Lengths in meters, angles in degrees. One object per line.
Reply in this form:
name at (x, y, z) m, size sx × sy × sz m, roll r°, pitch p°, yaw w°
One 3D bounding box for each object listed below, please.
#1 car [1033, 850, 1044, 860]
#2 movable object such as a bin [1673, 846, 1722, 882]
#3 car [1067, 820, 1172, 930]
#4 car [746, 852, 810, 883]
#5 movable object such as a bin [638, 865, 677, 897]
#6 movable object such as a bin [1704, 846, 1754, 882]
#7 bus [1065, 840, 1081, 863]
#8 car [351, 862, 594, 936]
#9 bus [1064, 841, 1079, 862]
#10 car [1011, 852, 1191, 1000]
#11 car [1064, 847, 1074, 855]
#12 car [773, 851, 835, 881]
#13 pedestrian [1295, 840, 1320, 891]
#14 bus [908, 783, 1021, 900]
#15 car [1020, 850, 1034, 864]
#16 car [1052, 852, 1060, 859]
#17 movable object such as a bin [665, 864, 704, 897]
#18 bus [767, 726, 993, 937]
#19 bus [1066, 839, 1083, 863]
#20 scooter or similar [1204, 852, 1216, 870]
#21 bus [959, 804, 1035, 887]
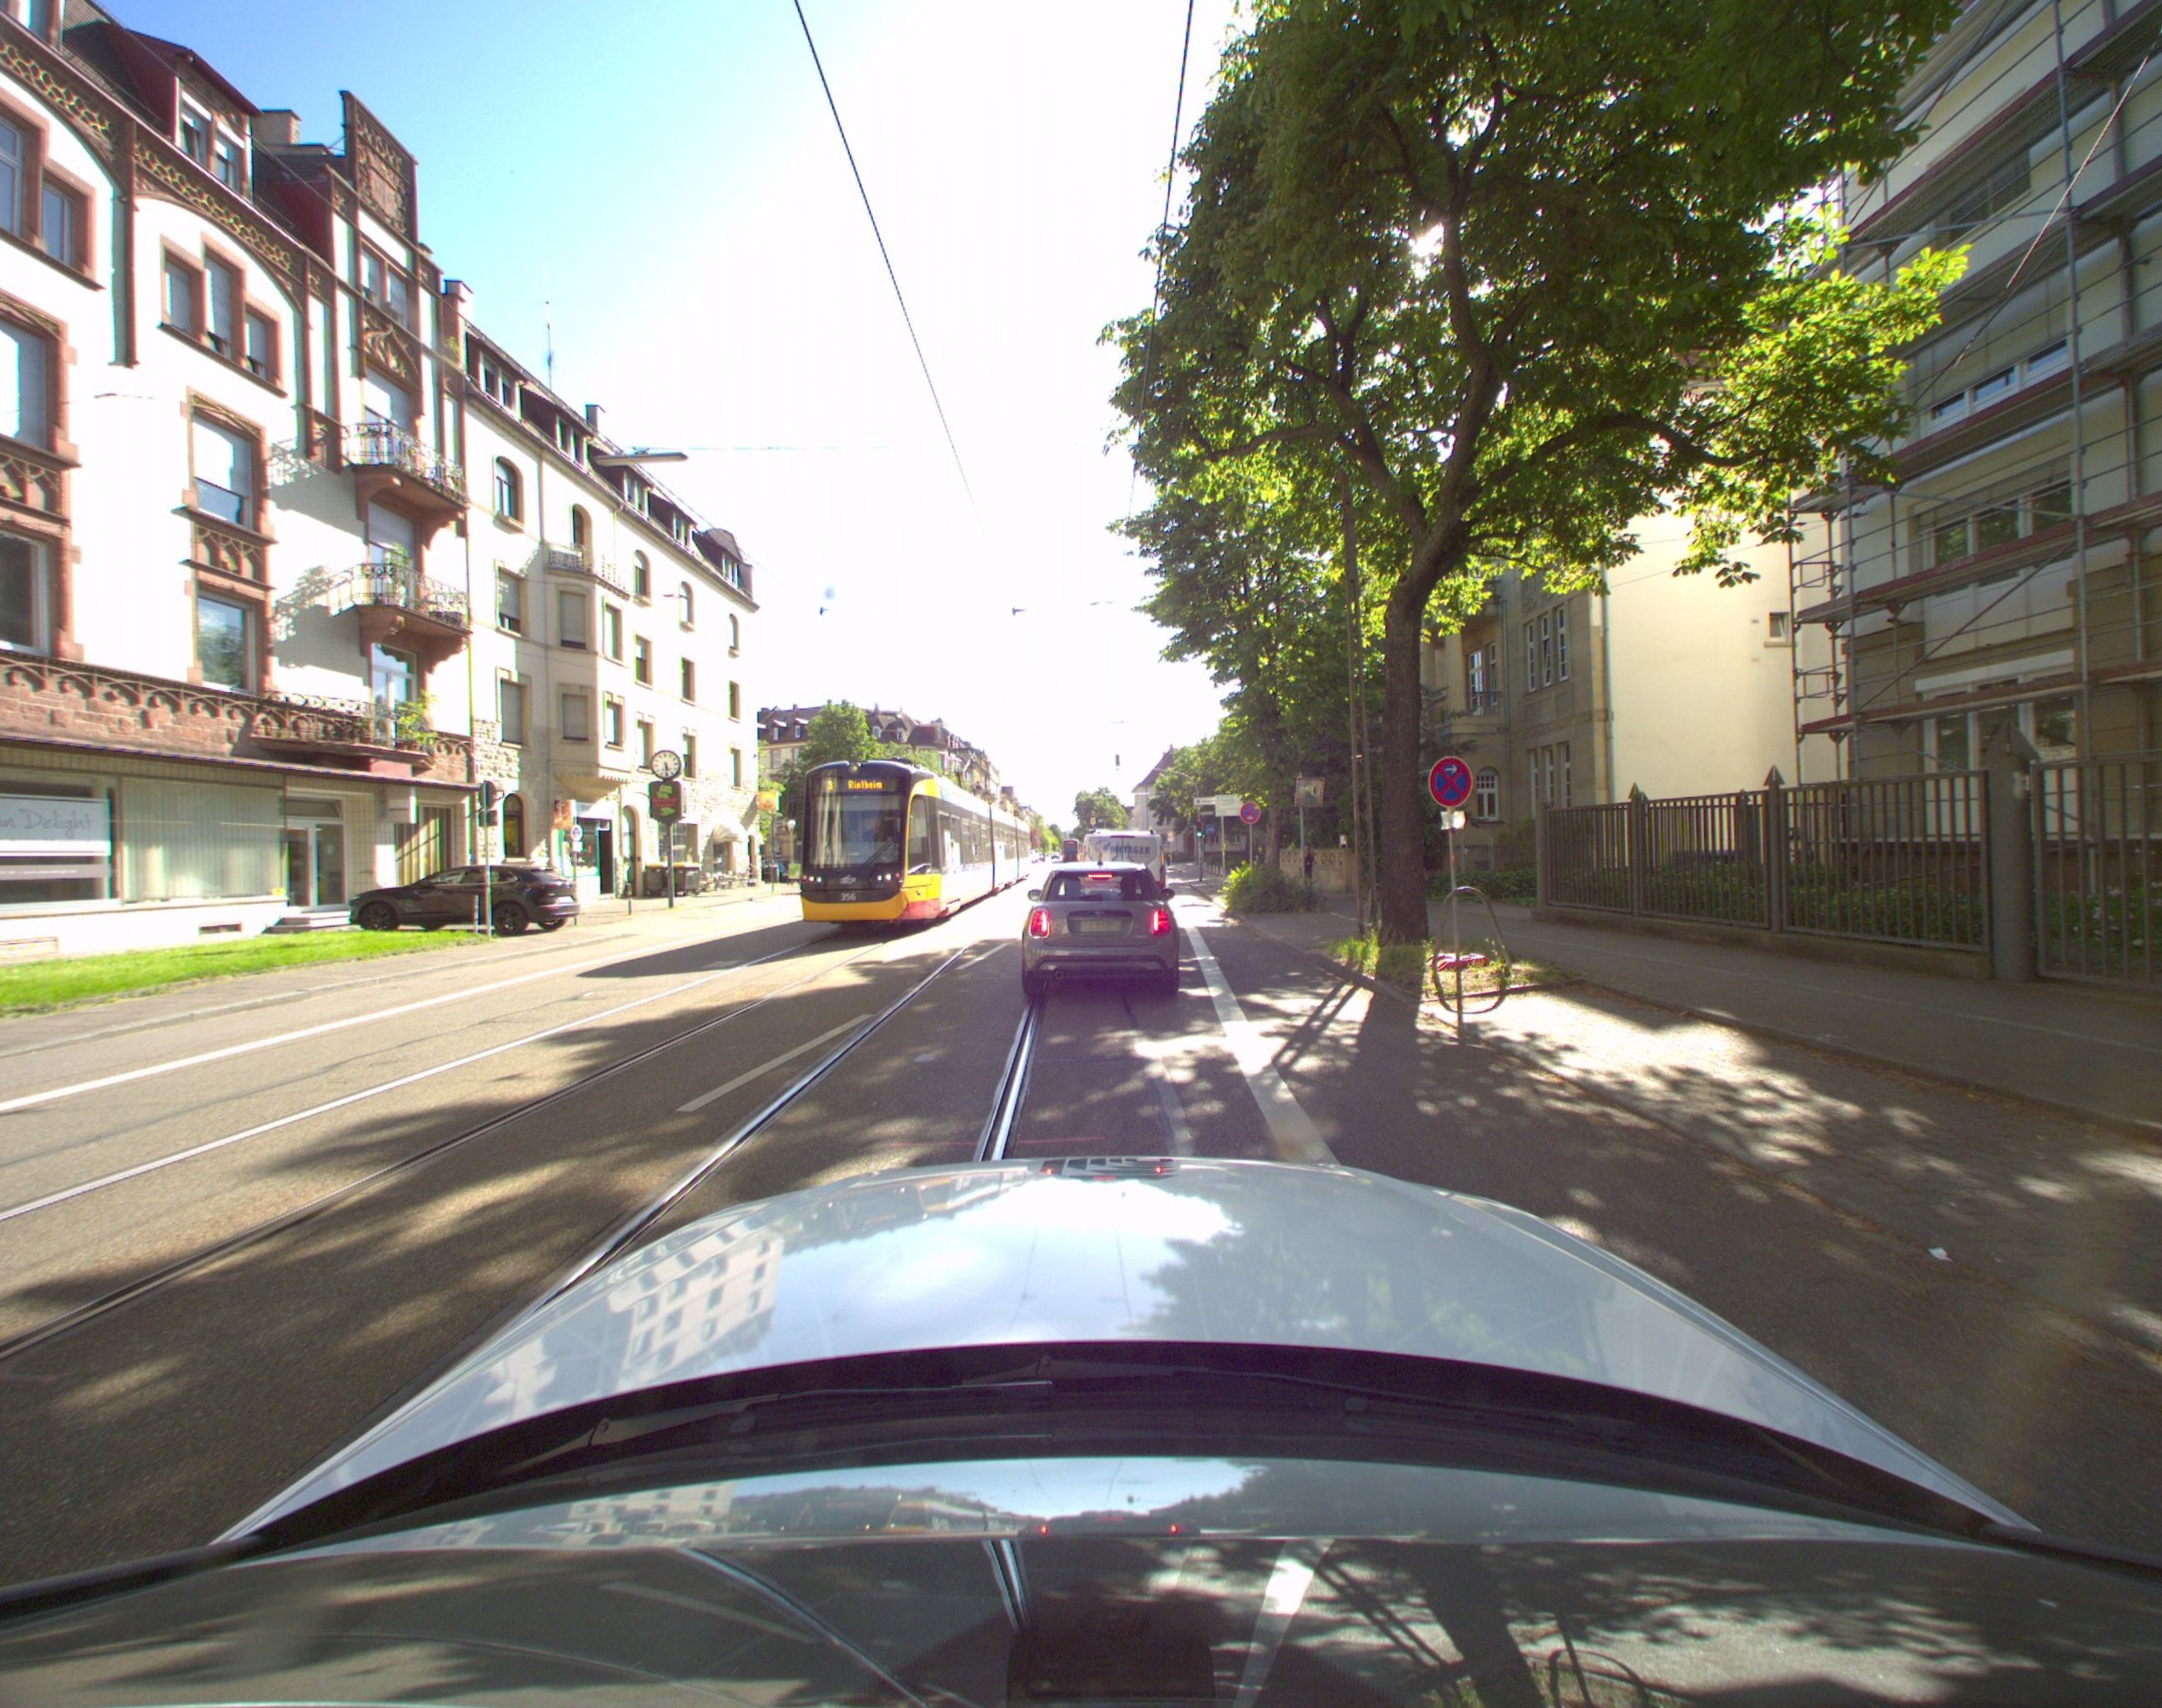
car at (-7.040, 0.239, 135.059) m, size 1.771 × 1.618 × 3.997 m, roll 0°, pitch -1°, yaw -2°
movable object such as a bin at (16.678, 0.274, 22.036) m, size 0.831 × 0.955 × 0.648 m, roll 0°, pitch -1°, yaw 0°
car at (0.850, 0.450, 18.980) m, size 2.110 × 2.208 × 4.946 m, roll 0°, pitch -1°, yaw 2°
car at (-20.550, 0.904, 55.195) m, size 3.949 × 2.014 × 2.012 m, roll -1°, pitch -1°, yaw 30°
movable object such as a bin at (-16.876, 1.068, 32.500) m, size 0.829 × 1.223 × 1.245 m, roll 0°, pitch -1°, yaw 4°
movable object such as a bin at (17.543, 0.268, 22.048) m, size 0.831 × 0.955 × 0.648 m, roll 0°, pitch -1°, yaw 0°
bus at (-1.303, -0.390, 129.734) m, size 2.379 × 3.496 × 7.377 m, roll 0°, pitch -1°, yaw -2°
car at (-13.587, 0.992, 18.395) m, size 3.981 × 1.503 × 1.768 m, roll 1°, pitch -1°, yaw -6°
bus at (-1.597, -0.381, 137.090) m, size 2.379 × 3.496 × 7.377 m, roll 0°, pitch -1°, yaw -2°
car at (0.263, 0.743, 10.222) m, size 1.808 × 1.488 × 4.001 m, roll 0°, pitch -1°, yaw 2°
car at (-2.261, -0.576, 155.283) m, size 1.859 × 1.563 × 3.997 m, roll 0°, pitch -1°, yaw -2°
car at (-19.491, 0.827, 57.248) m, size 3.949 × 2.014 × 2.012 m, roll -1°, pitch -1°, yaw 30°
pedestrian at (7.617, 0.380, 27.427) m, size 0.590 × 1.671 × 0.647 m, roll -3°, pitch -1°, yaw 1°
bus at (-4.161, -0.362, 31.809) m, size 2.851 × 3.777 × 11.179 m, roll 0°, pitch 0°, yaw -1°
car at (-8.005, 0.509, 119.908) m, size 1.990 × 2.014 × 5.020 m, roll 0°, pitch -1°, yaw -5°
car at (-5.759, 0.308, 185.444) m, size 1.771 × 1.618 × 3.997 m, roll 0°, pitch -1°, yaw -2°
movable object such as a bin at (-15.939, 1.048, 32.779) m, size 0.941 × 1.273 × 1.145 m, roll 0°, pitch -1°, yaw 5°
bus at (-4.234, -0.371, 20.377) m, size 2.851 × 3.777 × 11.494 m, roll 0°, pitch 0°, yaw -1°
bus at (-1.001, -0.437, 122.325) m, size 2.379 × 3.496 × 7.377 m, roll 0°, pitch -1°, yaw -2°
scooter or similar at (9.319, 0.494, 58.760) m, size 0.673 × 1.310 × 1.329 m, roll 0°, pitch -1°, yaw 1°
bus at (-4.211, -0.348, 43.409) m, size 2.841 × 3.777 × 12.193 m, roll 0°, pitch 0°, yaw 0°
